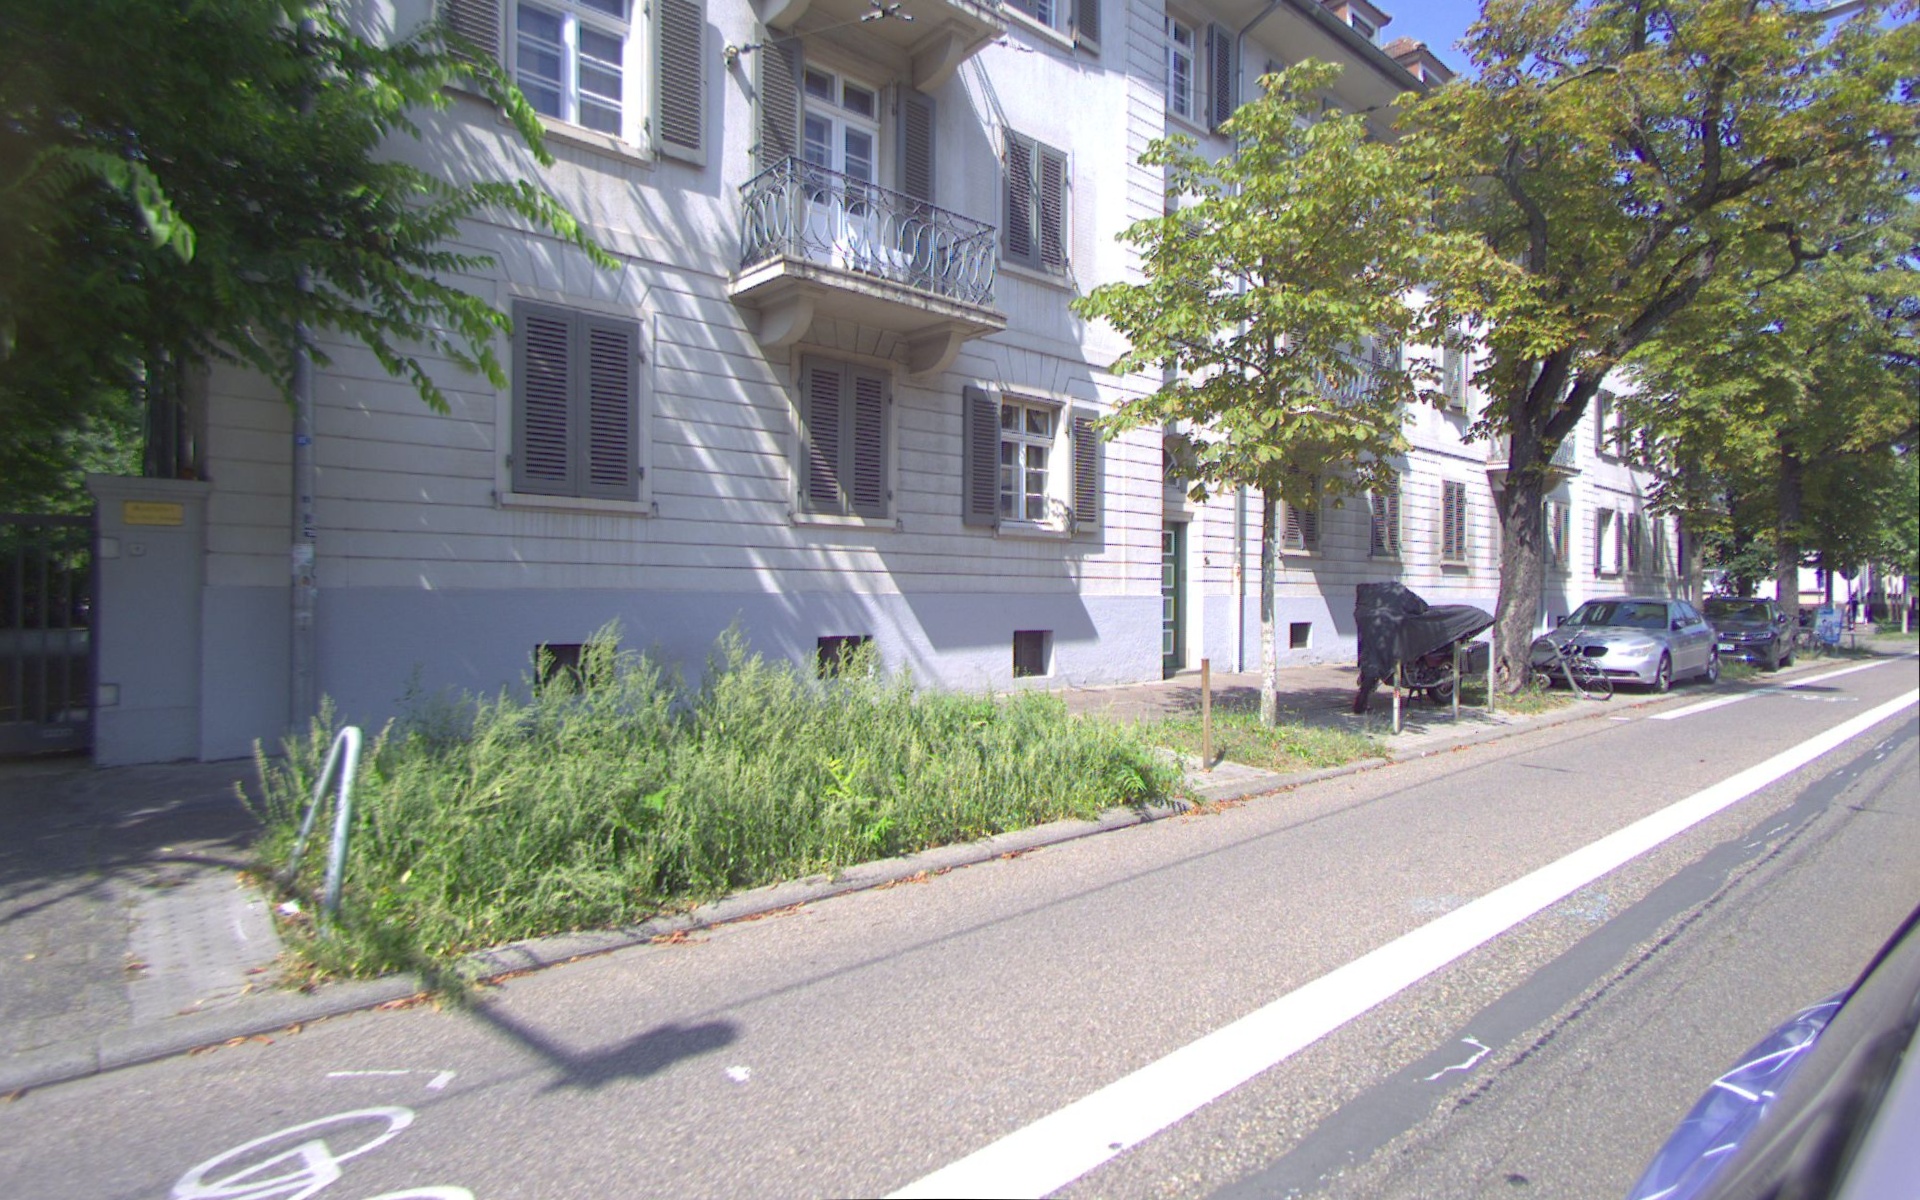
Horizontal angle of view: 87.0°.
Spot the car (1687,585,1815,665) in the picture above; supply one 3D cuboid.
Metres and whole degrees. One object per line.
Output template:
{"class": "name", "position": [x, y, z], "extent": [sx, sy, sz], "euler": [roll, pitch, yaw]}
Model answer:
{"class": "car", "position": [17.147, 0.473, 21.863], "extent": [1.664, 1.526, 4.363], "euler": [2, 1, 45]}

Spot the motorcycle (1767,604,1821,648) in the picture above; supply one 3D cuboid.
{"class": "motorcycle", "position": [22.563, 0.673, 27.360], "extent": [2.456, 1.125, 0.827], "euler": [0, 0, -43]}

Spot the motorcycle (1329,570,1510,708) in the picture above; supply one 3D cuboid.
{"class": "motorcycle", "position": [5.697, 0.425, 12.495], "extent": [2.365, 1.572, 0.889], "euler": [0, 1, -33]}

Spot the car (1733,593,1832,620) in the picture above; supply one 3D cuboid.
{"class": "car", "position": [47.004, 0.351, 57.946], "extent": [1.933, 1.461, 4.009], "euler": [0, 0, -18]}

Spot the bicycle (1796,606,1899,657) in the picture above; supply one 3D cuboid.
{"class": "bicycle", "position": [20.974, 0.715, 23.938], "extent": [0.644, 1.137, 1.758], "euler": [0, 0, -41]}

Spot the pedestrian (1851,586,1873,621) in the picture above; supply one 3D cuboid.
{"class": "pedestrian", "position": [46.399, 0.179, 52.045], "extent": [0.621, 1.808, 0.749], "euler": [0, 0, -40]}

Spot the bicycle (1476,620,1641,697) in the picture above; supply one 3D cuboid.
{"class": "bicycle", "position": [8.572, 0.806, 14.573], "extent": [0.707, 0.964, 1.928], "euler": [0, 1, -37]}

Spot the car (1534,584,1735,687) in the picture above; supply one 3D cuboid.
{"class": "car", "position": [11.379, 0.498, 16.940], "extent": [4.671, 1.468, 1.784], "euler": [0, 1, -43]}
